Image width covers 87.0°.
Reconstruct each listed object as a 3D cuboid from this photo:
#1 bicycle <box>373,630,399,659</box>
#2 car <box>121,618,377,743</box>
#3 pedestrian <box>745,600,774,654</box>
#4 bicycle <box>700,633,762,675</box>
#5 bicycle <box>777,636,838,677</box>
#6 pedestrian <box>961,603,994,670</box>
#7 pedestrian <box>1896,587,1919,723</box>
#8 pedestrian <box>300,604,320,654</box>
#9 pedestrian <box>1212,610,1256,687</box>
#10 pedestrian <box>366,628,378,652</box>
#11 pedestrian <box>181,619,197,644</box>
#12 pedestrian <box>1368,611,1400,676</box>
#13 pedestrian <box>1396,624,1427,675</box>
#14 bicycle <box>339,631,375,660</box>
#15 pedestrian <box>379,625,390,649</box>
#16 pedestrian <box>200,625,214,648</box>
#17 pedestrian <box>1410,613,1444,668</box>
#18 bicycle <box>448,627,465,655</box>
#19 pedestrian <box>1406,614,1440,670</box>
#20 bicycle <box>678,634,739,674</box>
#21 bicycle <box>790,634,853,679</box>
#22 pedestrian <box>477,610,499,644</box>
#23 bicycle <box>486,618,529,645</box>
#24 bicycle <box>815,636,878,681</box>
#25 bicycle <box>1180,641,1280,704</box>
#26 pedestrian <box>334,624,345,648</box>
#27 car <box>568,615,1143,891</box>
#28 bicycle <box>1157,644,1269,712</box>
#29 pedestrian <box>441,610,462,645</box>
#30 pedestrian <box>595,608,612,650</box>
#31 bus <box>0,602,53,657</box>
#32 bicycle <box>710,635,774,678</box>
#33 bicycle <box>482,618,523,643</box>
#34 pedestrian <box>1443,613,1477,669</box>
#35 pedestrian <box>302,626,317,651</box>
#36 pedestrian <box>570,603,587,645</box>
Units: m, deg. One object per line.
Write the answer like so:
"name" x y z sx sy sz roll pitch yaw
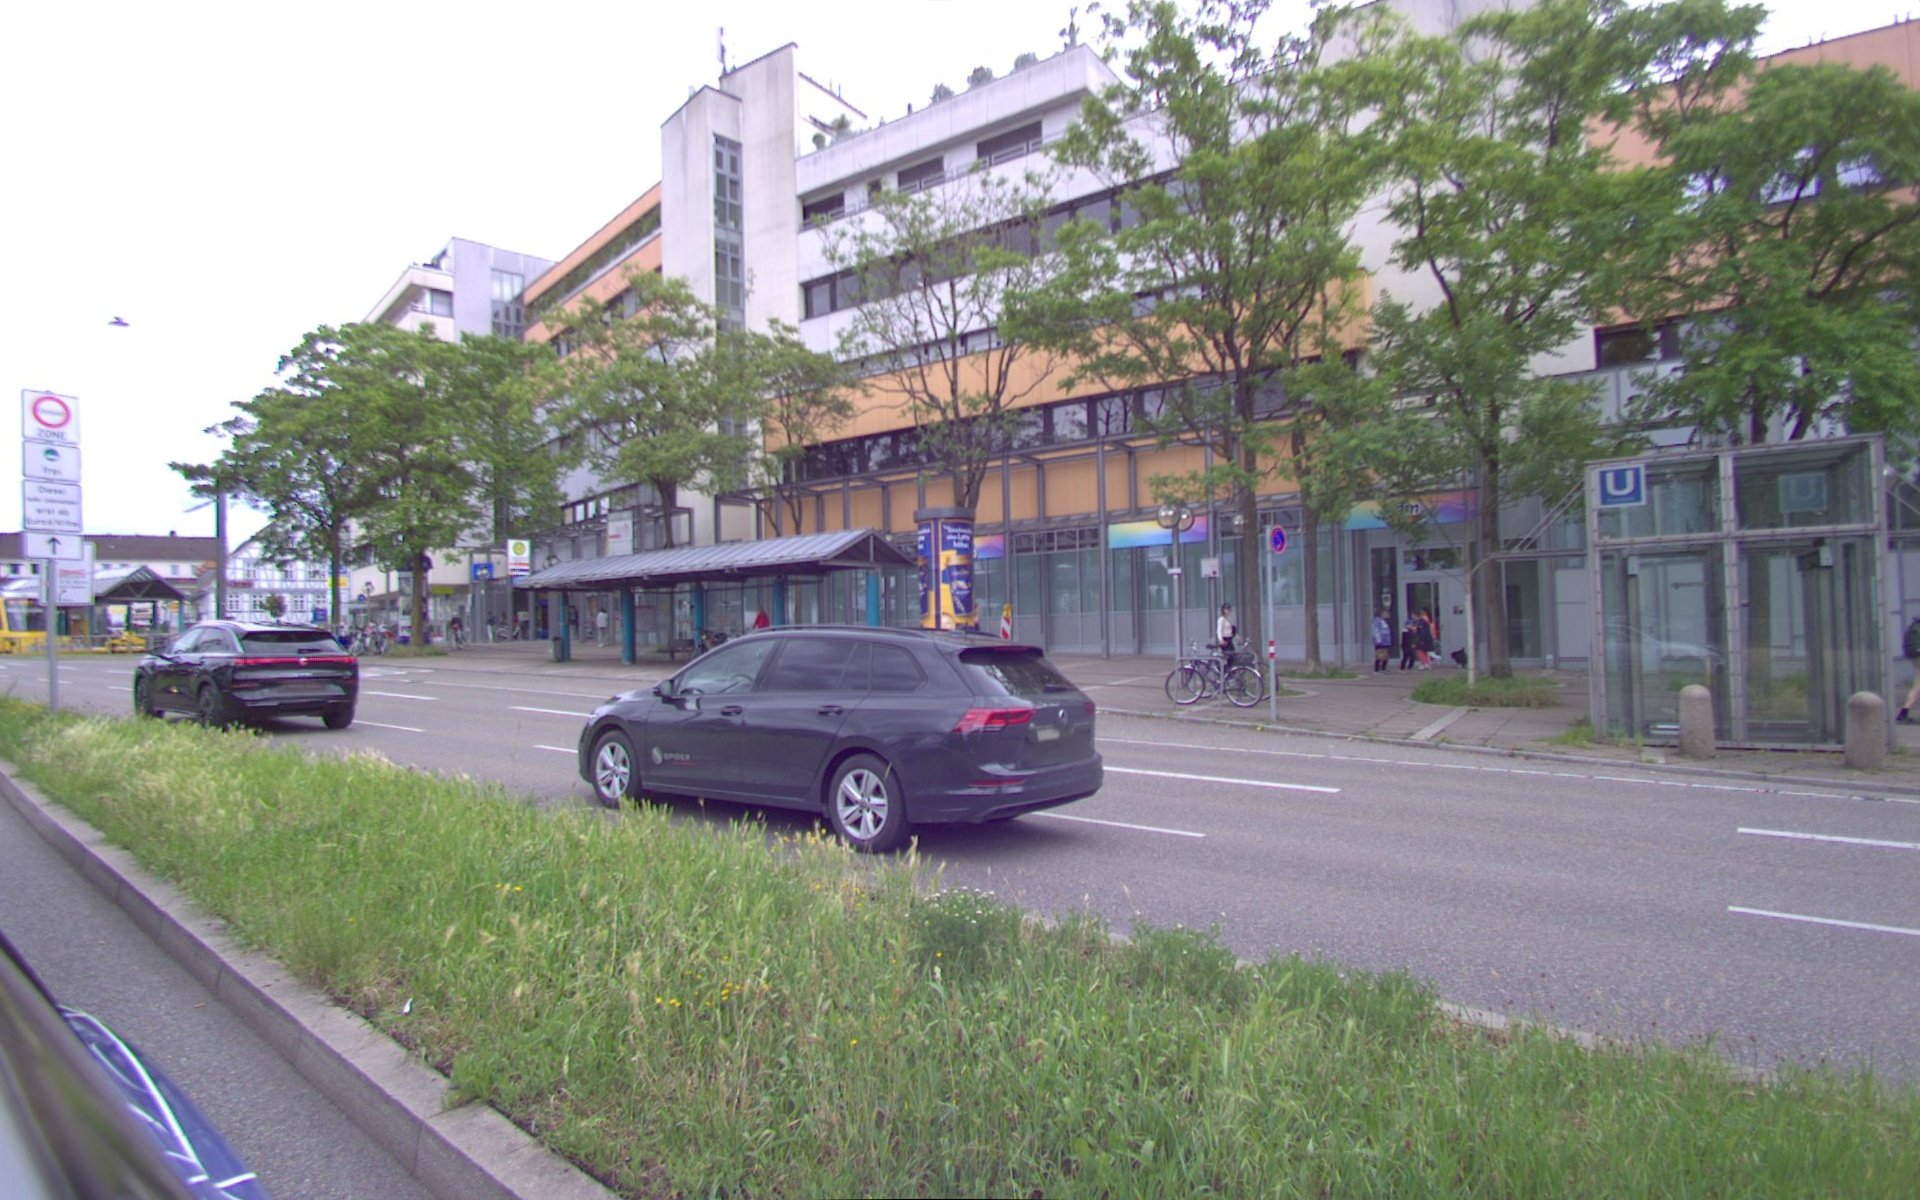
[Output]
"bicycle" -22.743 1.762 40.101 0.584 1.085 2.044 0 -1 -21
"car" -10.389 1.066 14.713 4.064 1.533 1.818 0 -2 36
"pedestrian" -7.644 1.019 38.646 0.791 2.029 0.703 -1 0 31
"bicycle" -6.451 1.519 28.575 0.549 1.048 1.714 -2 1 38
"bicycle" -4.134 1.521 27.551 0.549 1.048 1.714 -2 -1 38
"pedestrian" 0.478 0.982 27.698 0.769 1.800 0.525 -1 -2 33
"pedestrian" 13.497 0.745 13.801 0.916 1.846 0.533 -1 -2 25
"pedestrian" -30.309 1.348 47.179 0.608 2.325 0.583 -1 -2 39
"pedestrian" 6.060 1.059 22.382 0.721 1.662 0.669 -1 -1 37
"pedestrian" -37.339 2.517 64.236 0.548 1.506 0.454 1 -2 -41
"pedestrian" -62.489 2.529 82.007 0.867 2.029 1.010 1 -2 -44
"pedestrian" 10.103 1.031 24.110 0.620 1.515 0.563 -1 -2 31
"pedestrian" 10.845 1.179 24.320 0.620 1.190 0.418 -1 -2 31
"bicycle" -23.610 1.775 39.643 0.585 1.085 2.042 0 -1 -12
"pedestrian" -36.634 2.348 64.414 0.548 1.506 0.454 1 -2 -41
"pedestrian" -50.101 2.408 67.300 0.581 1.554 0.570 -1 -2 32
"pedestrian" 12.025 1.039 26.058 0.694 1.385 0.578 -1 -2 34
"bicycle" -21.347 1.717 42.920 0.584 1.134 2.044 1 -1 -26
"pedestrian" 11.638 1.044 25.445 0.694 1.385 0.578 -1 -2 34
"bicycle" -7.229 1.541 29.139 0.549 1.048 1.714 -2 0 38
"bicycle" -3.610 1.464 26.584 0.549 1.048 1.714 -2 0 38
"pedestrian" -24.017 1.372 51.505 0.752 1.695 0.755 -1 -2 41
"bicycle" -24.943 1.736 55.779 2.107 1.385 0.621 -1 0 -31
"bicycle" -2.901 1.480 26.051 0.549 1.048 1.714 -2 0 38
"bicycle" 4.987 1.317 18.780 1.737 1.074 0.542 -2 -1 45
"pedestrian" -31.691 1.826 51.660 0.368 1.188 0.338 -1 -2 31
"car" -0.939 0.886 7.624 4.279 1.492 1.694 0 0 36
"bicycle" 4.371 1.329 17.589 0.802 1.068 1.739 0 -1 -40
"pedestrian" -27.420 1.484 54.603 0.752 1.859 0.755 -1 -2 41
"pedestrian" -15.469 1.251 43.898 0.639 1.823 0.761 0 -2 -16
"bus" -55.977 1.699 58.608 8.470 3.006 2.530 -1 -2 29
"bicycle" -5.956 1.536 27.712 0.549 1.048 1.714 -2 1 38
"bicycle" -26.092 1.746 57.758 2.106 1.377 0.621 -1 0 -24
"pedestrian" 12.597 1.031 25.502 0.694 1.385 0.578 -1 -2 34
"pedestrian" -40.134 2.355 62.404 0.581 1.554 0.570 -1 -2 32
"pedestrian" -18.319 1.144 48.585 0.558 2.029 0.611 1 -2 -44
